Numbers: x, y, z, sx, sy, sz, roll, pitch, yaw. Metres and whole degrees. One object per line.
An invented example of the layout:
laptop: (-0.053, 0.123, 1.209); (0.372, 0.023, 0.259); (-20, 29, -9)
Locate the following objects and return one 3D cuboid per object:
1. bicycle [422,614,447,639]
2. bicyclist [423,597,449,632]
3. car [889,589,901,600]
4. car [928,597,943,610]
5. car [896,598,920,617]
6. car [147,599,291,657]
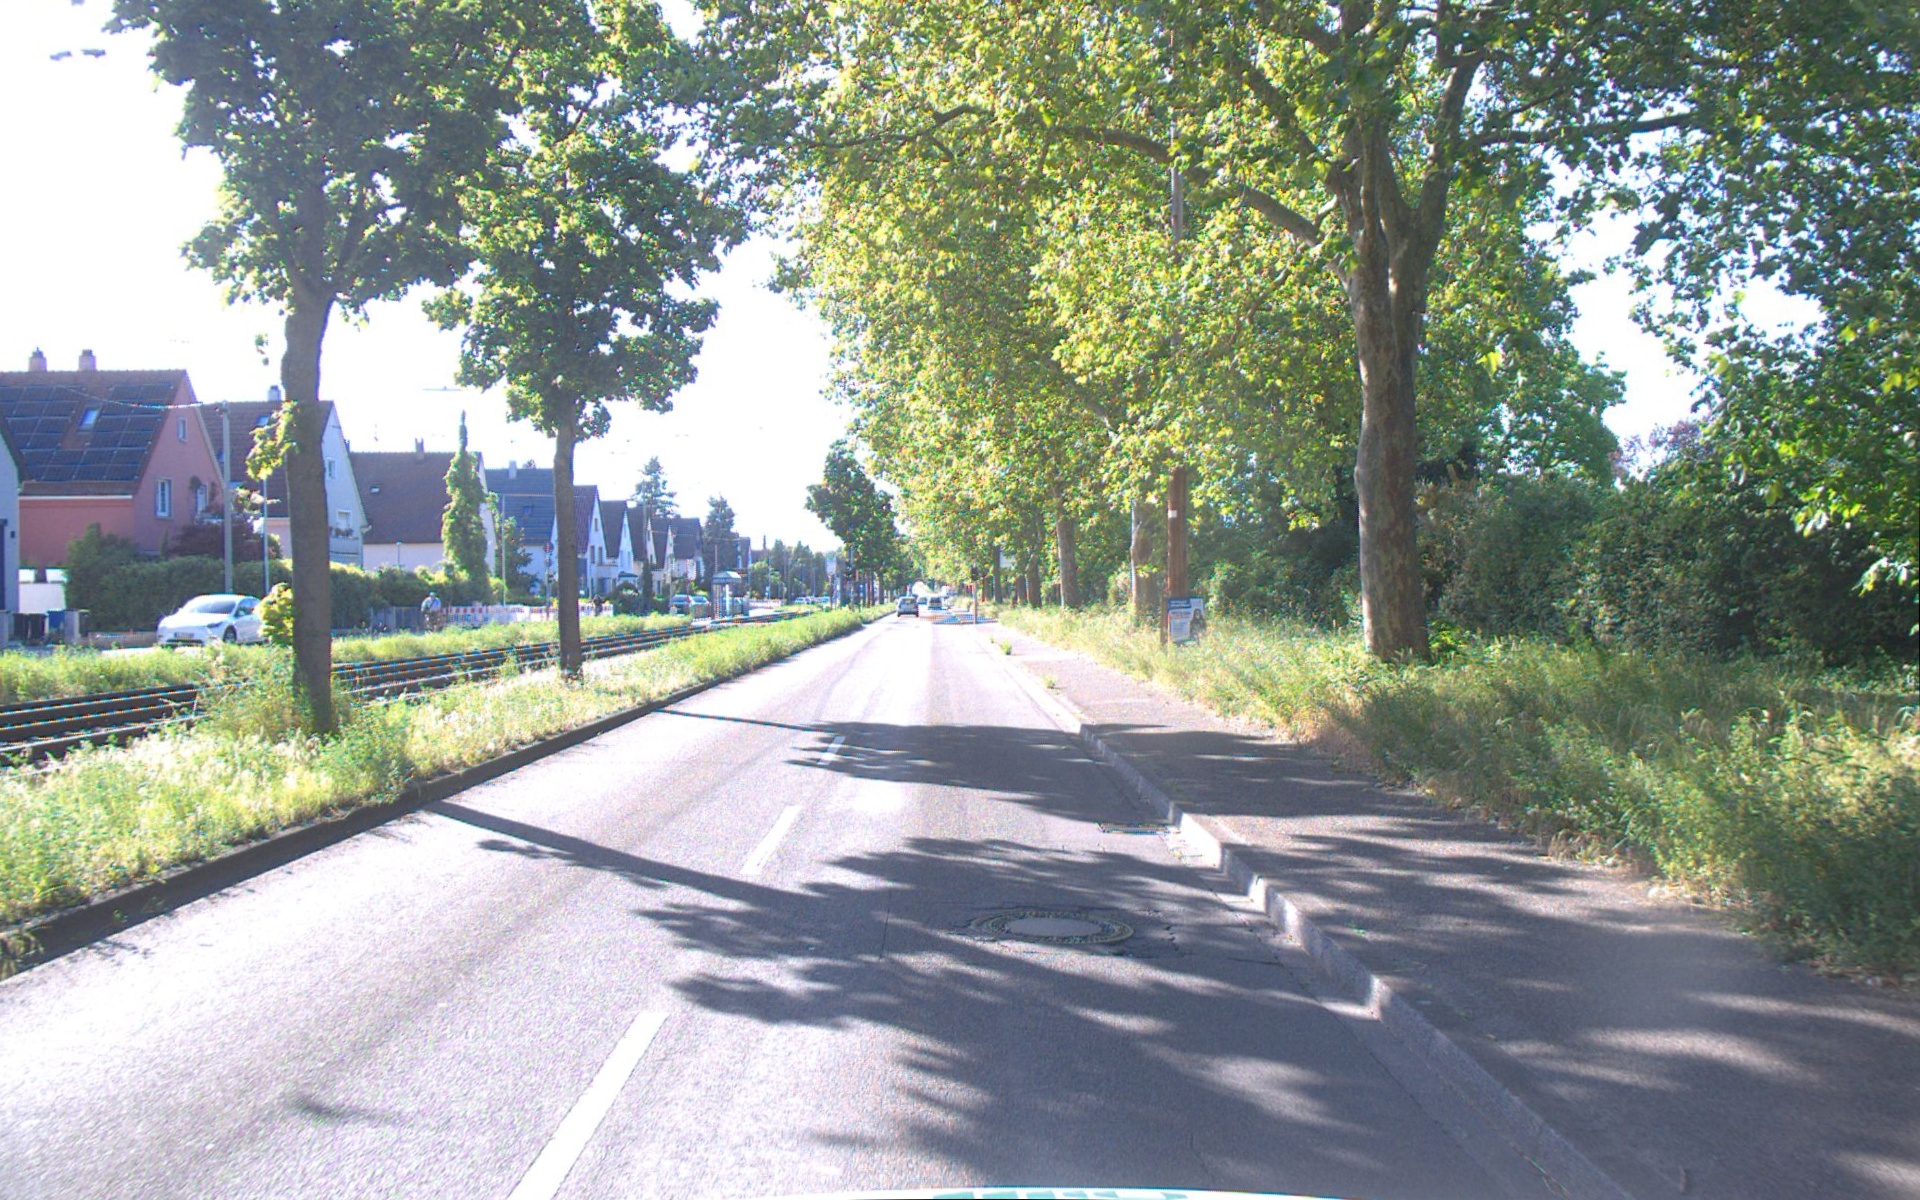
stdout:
bicycle: (-19.689, 0.972, 62.021); (0.432, 0.917, 2.059); (1, 0, -5)
bicyclist: (-19.659, 0.546, 62.047); (0.783, 1.300, 0.736); (1, -1, -4)
car: (-8.773, -0.766, 223.027); (1.496, 1.480, 3.286); (1, 0, 0)
car: (-2.820, 0.409, 192.235); (1.725, 1.539, 3.276); (1, 0, 0)
car: (-3.880, 0.553, 123.387); (1.703, 1.425, 3.276); (1, 0, -1)
car: (-21.905, 0.805, 49.142); (1.952, 1.627, 4.733); (1, 0, 2)
